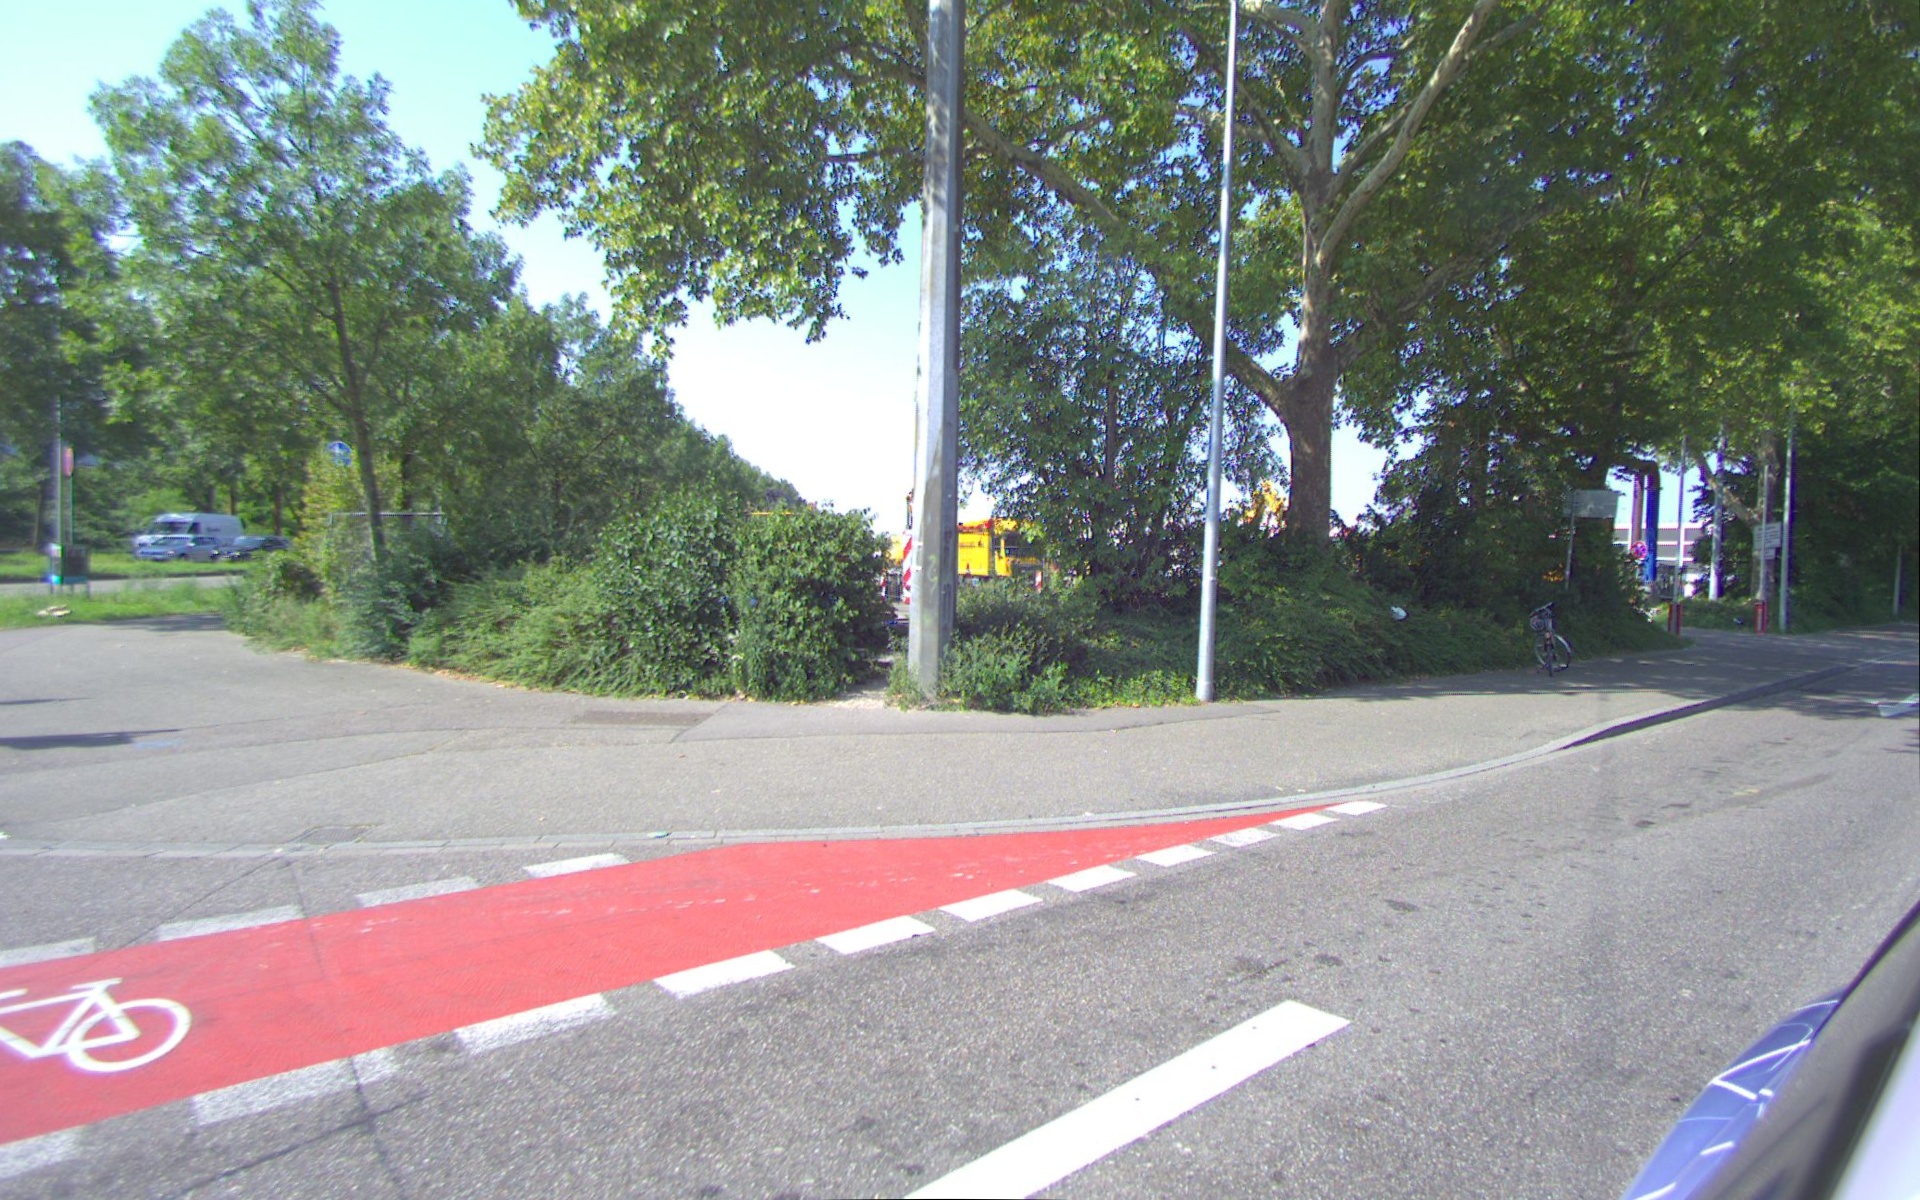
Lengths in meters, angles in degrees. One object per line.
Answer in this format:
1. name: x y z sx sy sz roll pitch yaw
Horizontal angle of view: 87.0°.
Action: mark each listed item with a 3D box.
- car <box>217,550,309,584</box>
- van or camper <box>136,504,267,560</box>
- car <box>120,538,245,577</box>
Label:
1. car: -31.166 -1.442 45.390 1.625 1.416 3.756 0 0 -2
2. van or camper: -39.317 -3.429 52.727 2.204 2.514 6.873 0 0 -5
3. car: -35.281 -1.886 46.122 2.124 1.629 4.978 0 0 -3
